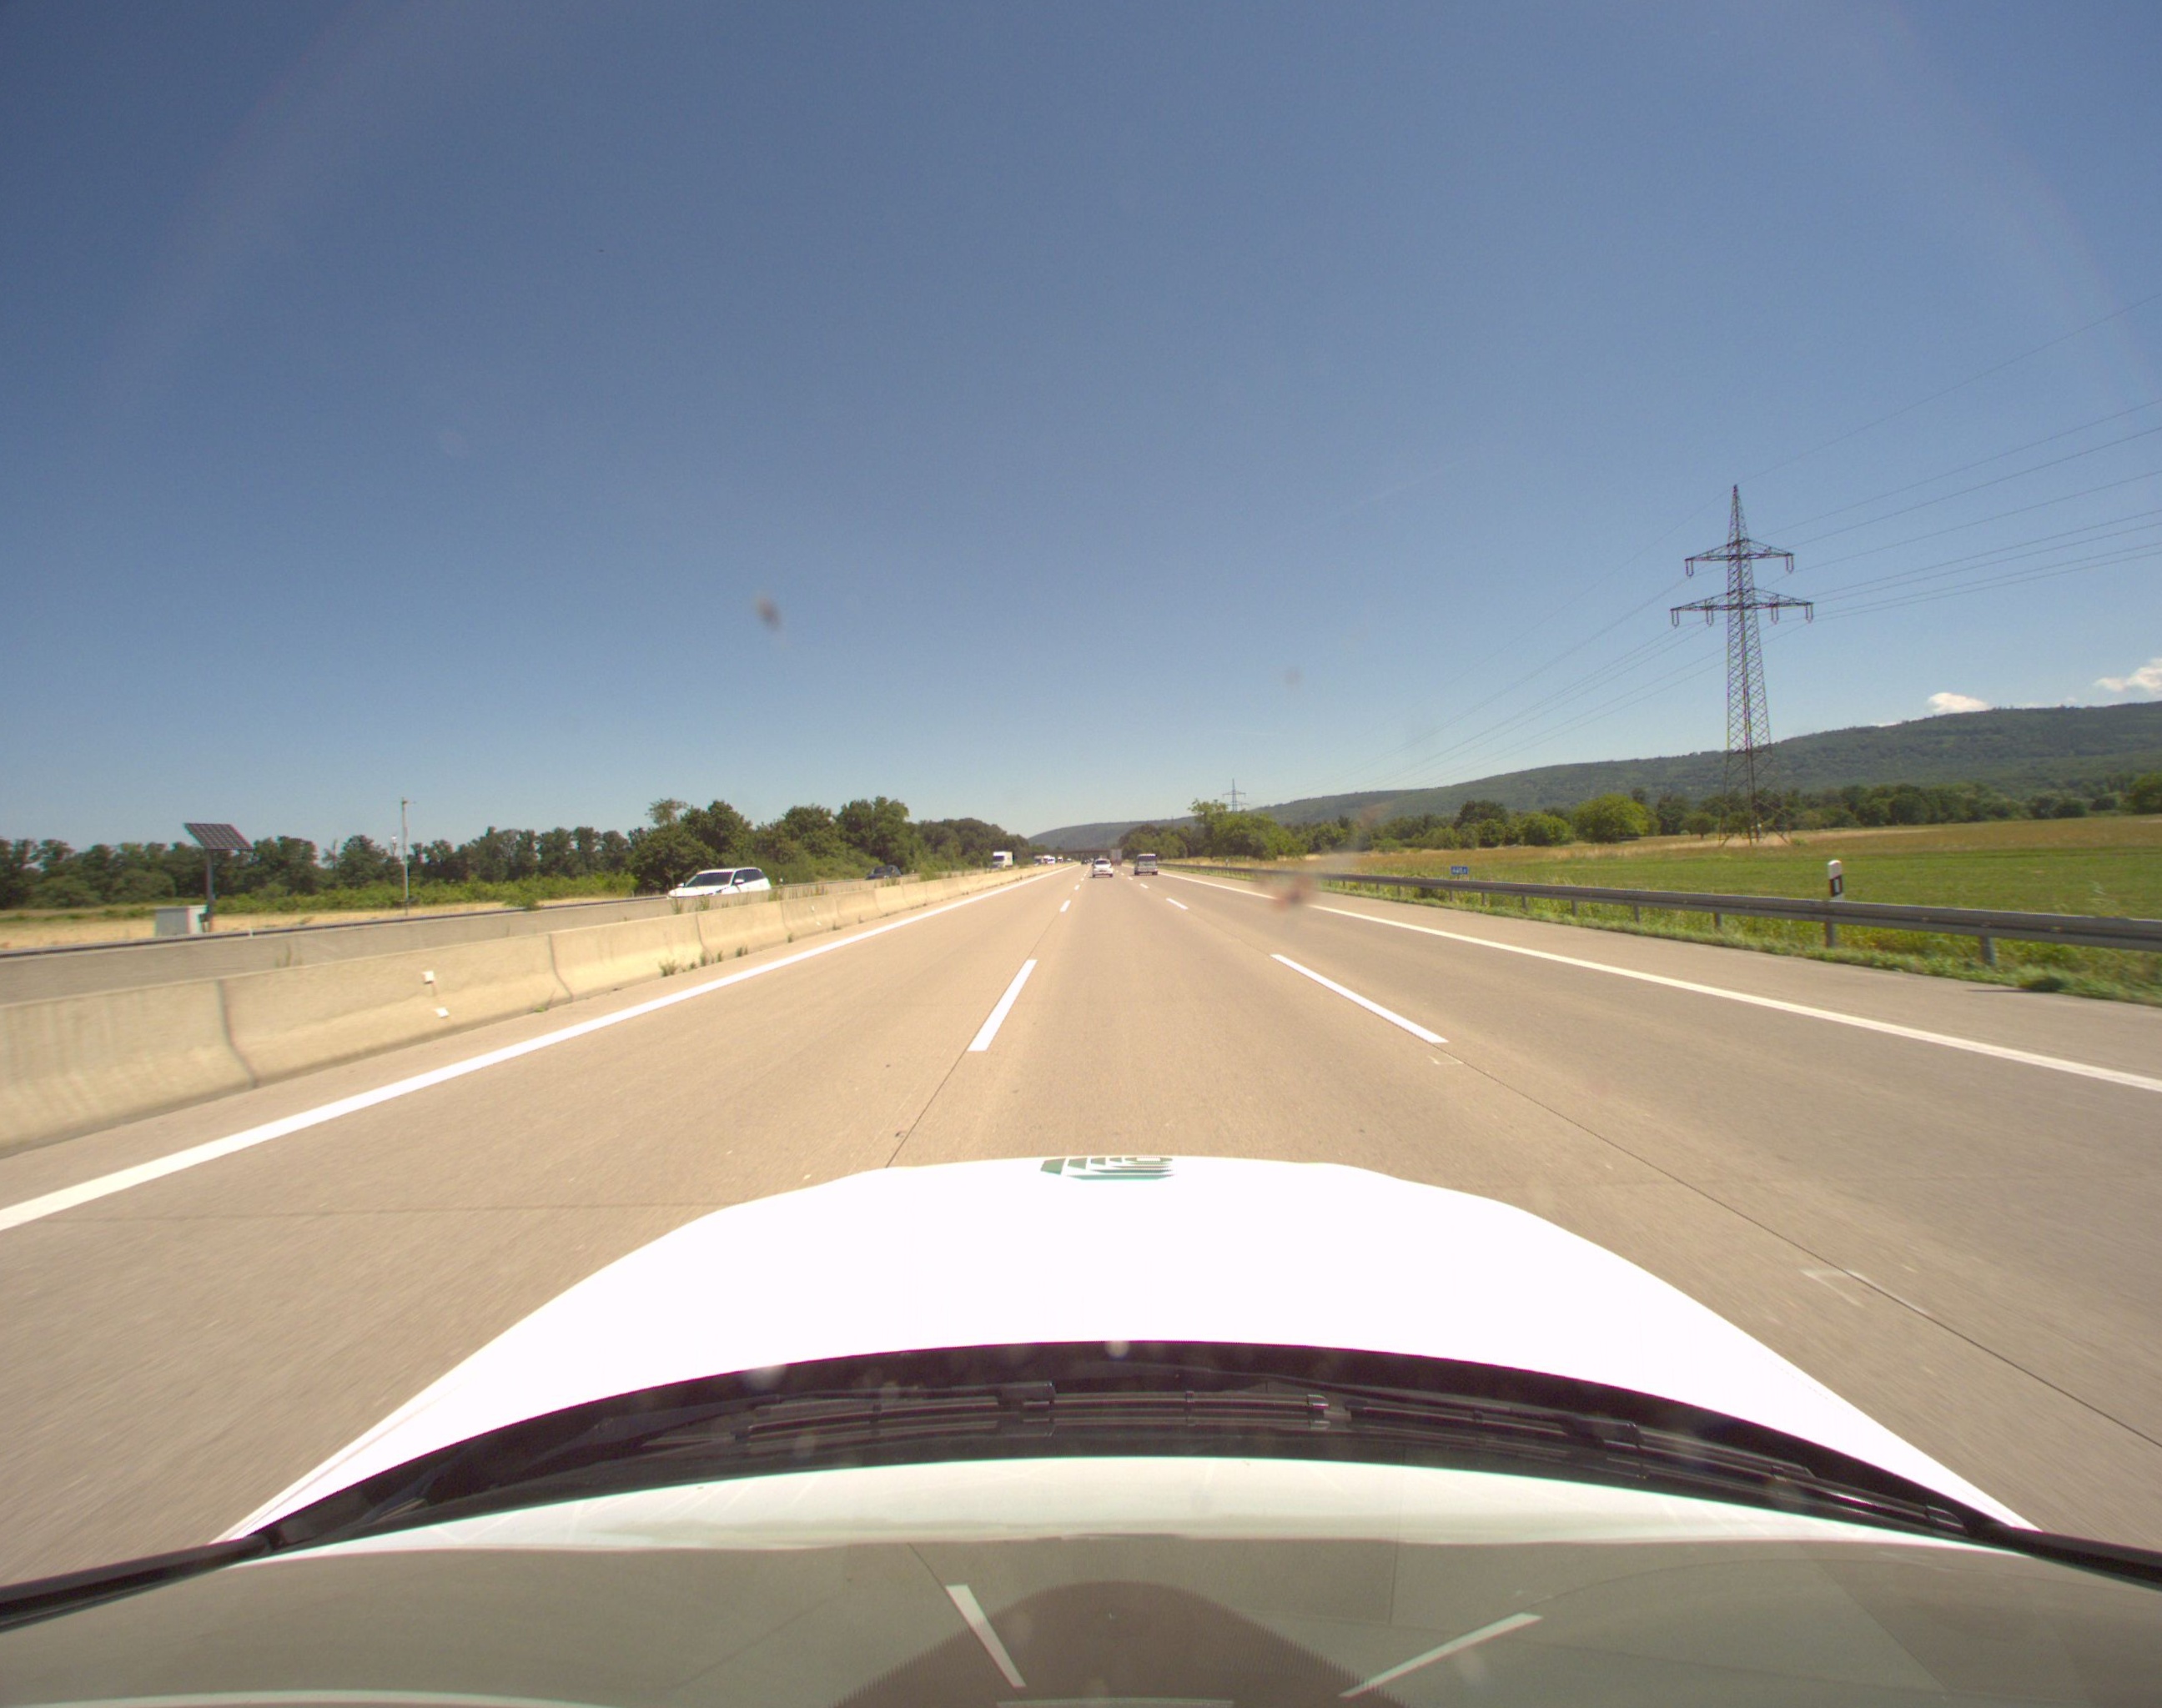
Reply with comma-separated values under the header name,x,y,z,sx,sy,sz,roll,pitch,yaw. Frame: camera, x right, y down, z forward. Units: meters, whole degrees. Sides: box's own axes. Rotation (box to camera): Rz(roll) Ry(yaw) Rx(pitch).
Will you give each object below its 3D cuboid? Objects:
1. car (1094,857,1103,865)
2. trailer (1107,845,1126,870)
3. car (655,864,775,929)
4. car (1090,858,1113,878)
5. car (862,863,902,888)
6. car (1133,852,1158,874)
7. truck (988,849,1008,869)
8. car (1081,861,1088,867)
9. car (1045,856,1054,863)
name,x,y,z,sx,sy,sz,roll,pitch,yaw
car,3.821,1.489,178.687,1.987,1.849,3.999,1,0,0
trailer,8.439,0.782,195.524,3.709,5.811,12.158,-1,0,0
car,-11.590,1.295,26.104,1.899,1.860,4.001,-1,0,2
car,1.709,1.158,69.025,1.813,1.662,4.000,-2,0,0
car,-15.349,1.613,63.041,1.988,1.838,4.813,-1,0,-2
car,5.799,0.803,74.137,1.987,1.849,4.000,-1,0,0
truck,-17.518,1.033,172.187,3.150,3.908,8.373,-1,0,1
car,0.953,2.957,241.188,1.922,1.794,4.000,-1,0,0
car,-8.527,1.506,220.828,2.061,2.013,5.981,-1,0,1
